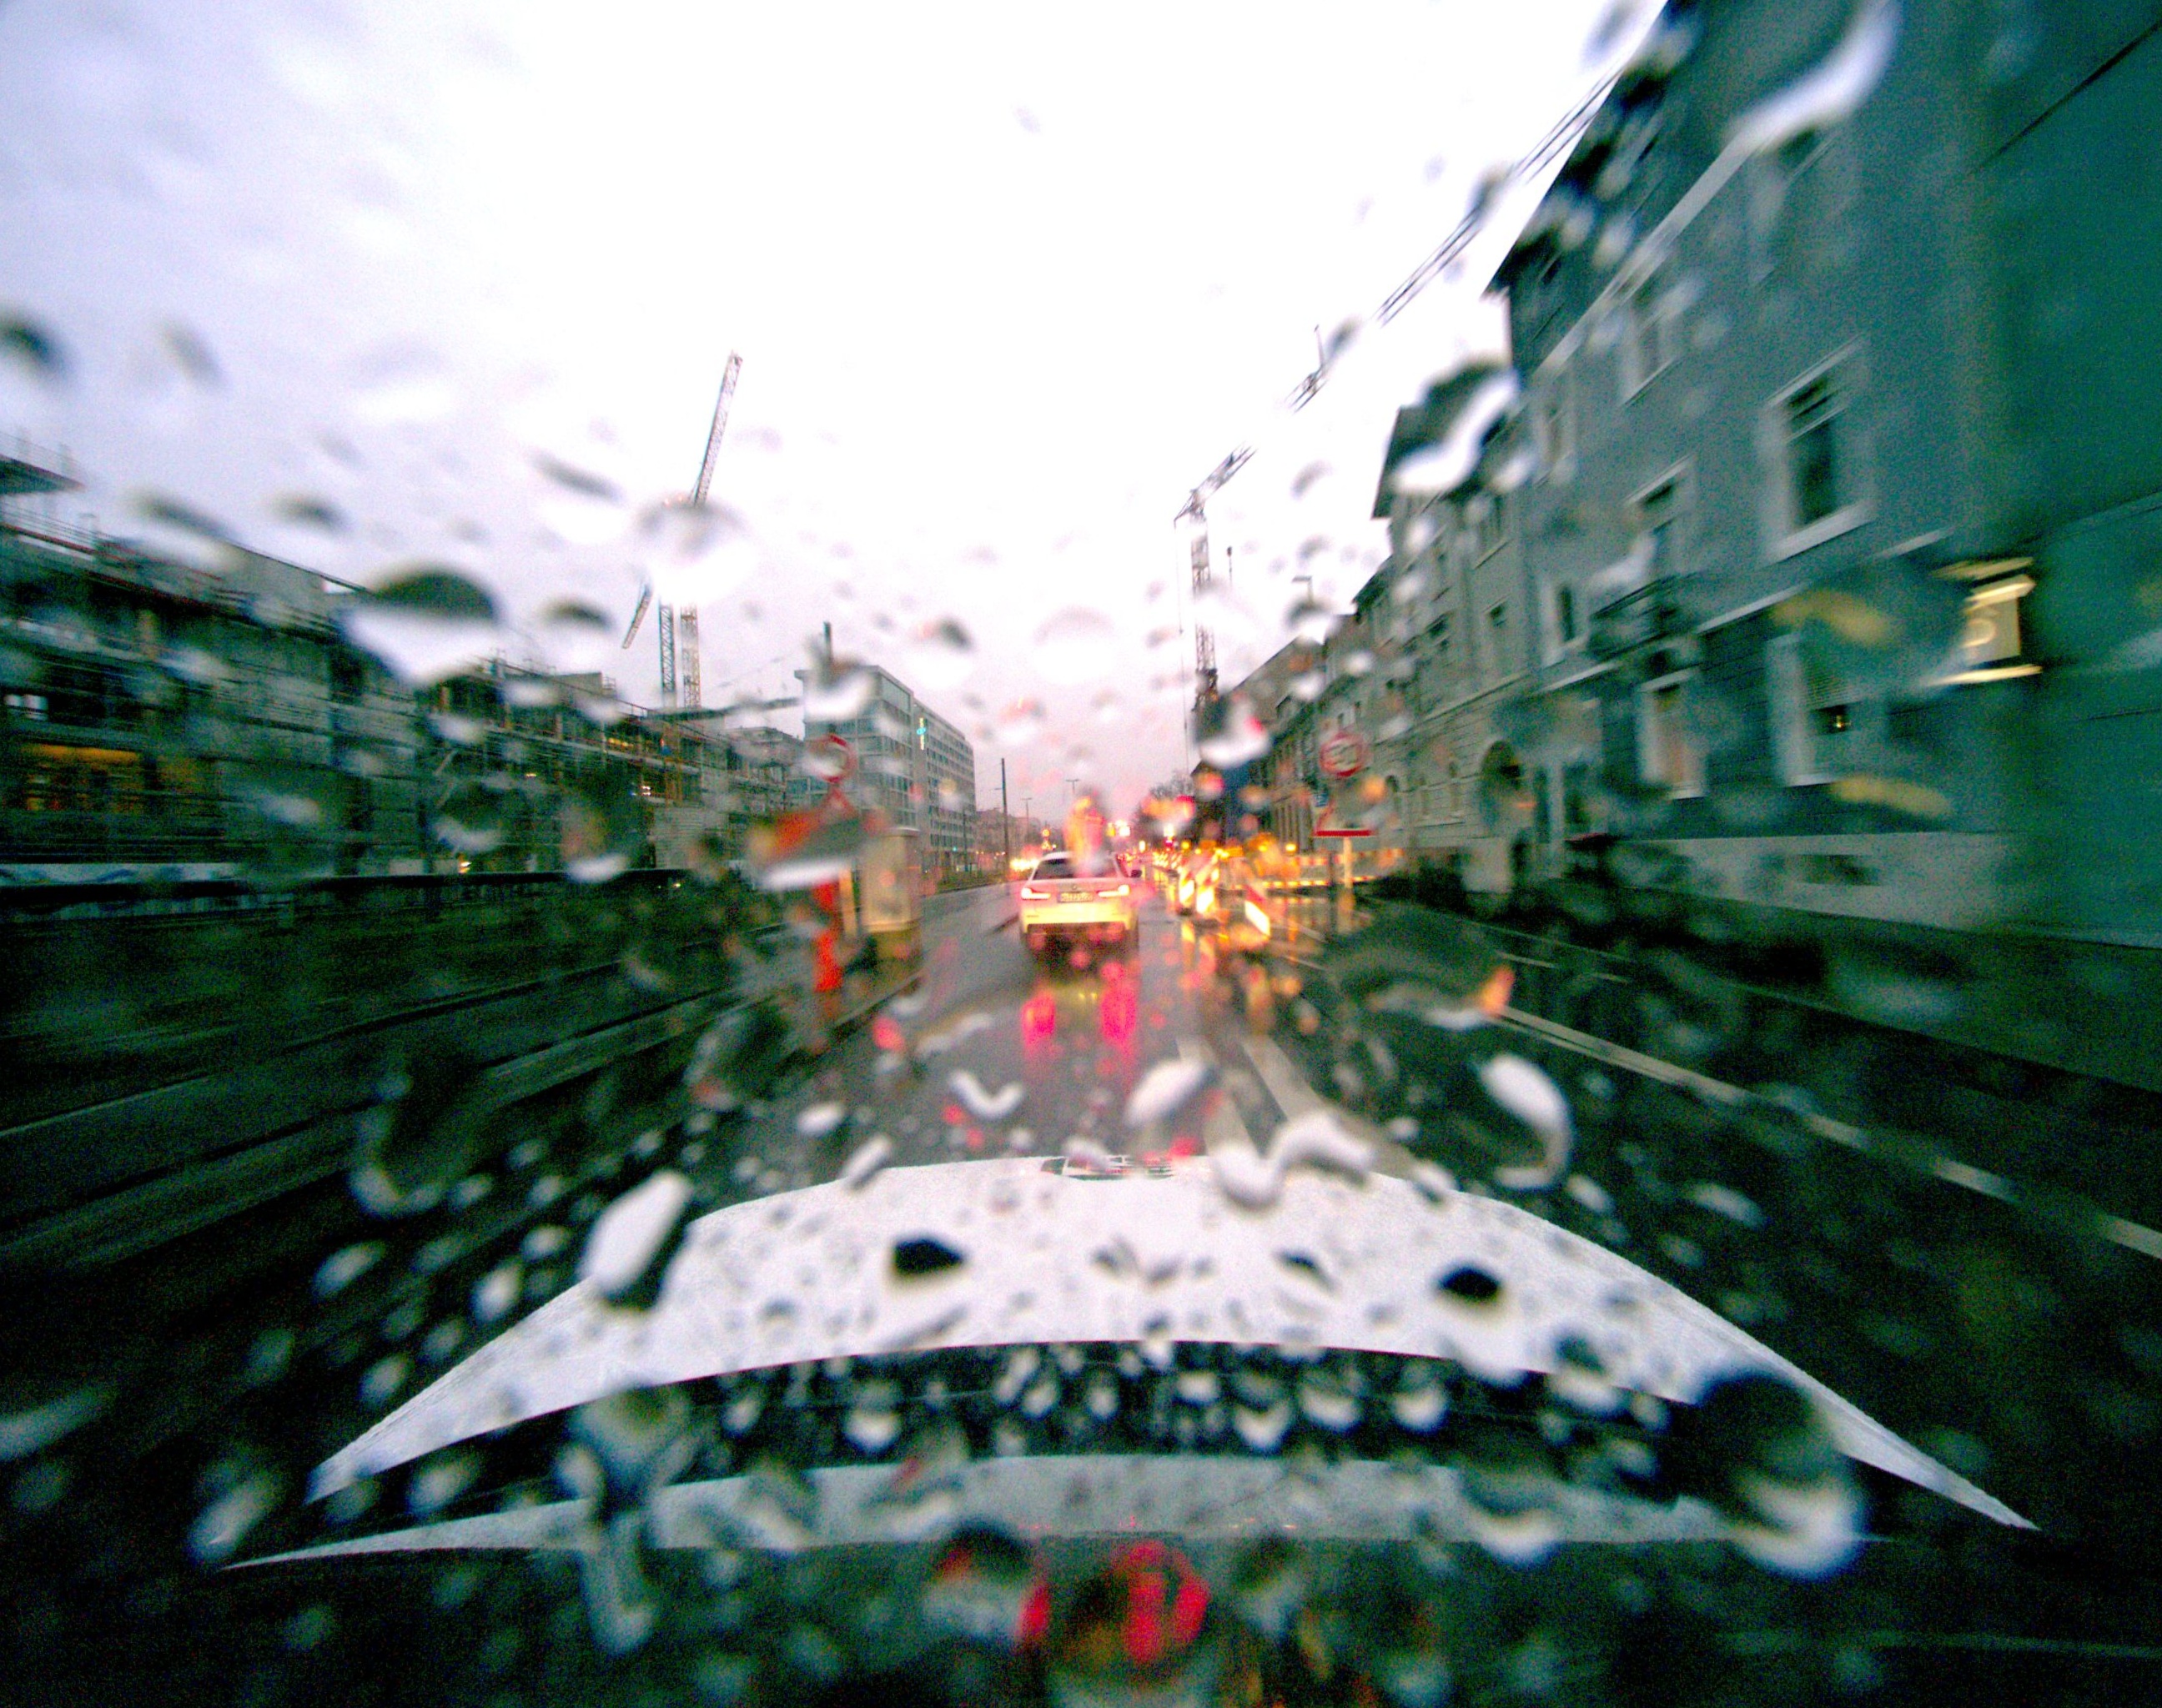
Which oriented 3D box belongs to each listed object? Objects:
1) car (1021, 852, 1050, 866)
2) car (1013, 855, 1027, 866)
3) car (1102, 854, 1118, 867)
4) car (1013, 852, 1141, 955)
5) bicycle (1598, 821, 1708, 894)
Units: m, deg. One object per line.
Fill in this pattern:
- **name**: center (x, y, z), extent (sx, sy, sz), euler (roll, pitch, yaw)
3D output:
- **car**: center (-6.849, 0.692, 122.343), extent (3.995, 1.975, 1.989), euler (-2, 0, -16)
- **car**: center (-11.452, 1.198, 153.793), extent (1.985, 2.013, 4.541), euler (-2, 0, 3)
- **car**: center (3.756, 0.839, 104.828), extent (1.893, 1.642, 4.003), euler (-2, 0, 3)
- **car**: center (0.049, 0.736, 14.483), extent (1.844, 1.465, 4.950), euler (-2, 0, 3)
- **bicycle**: center (10.733, 0.070, 15.381), extent (0.680, 1.222, 1.906), euler (-5, -1, 2)
